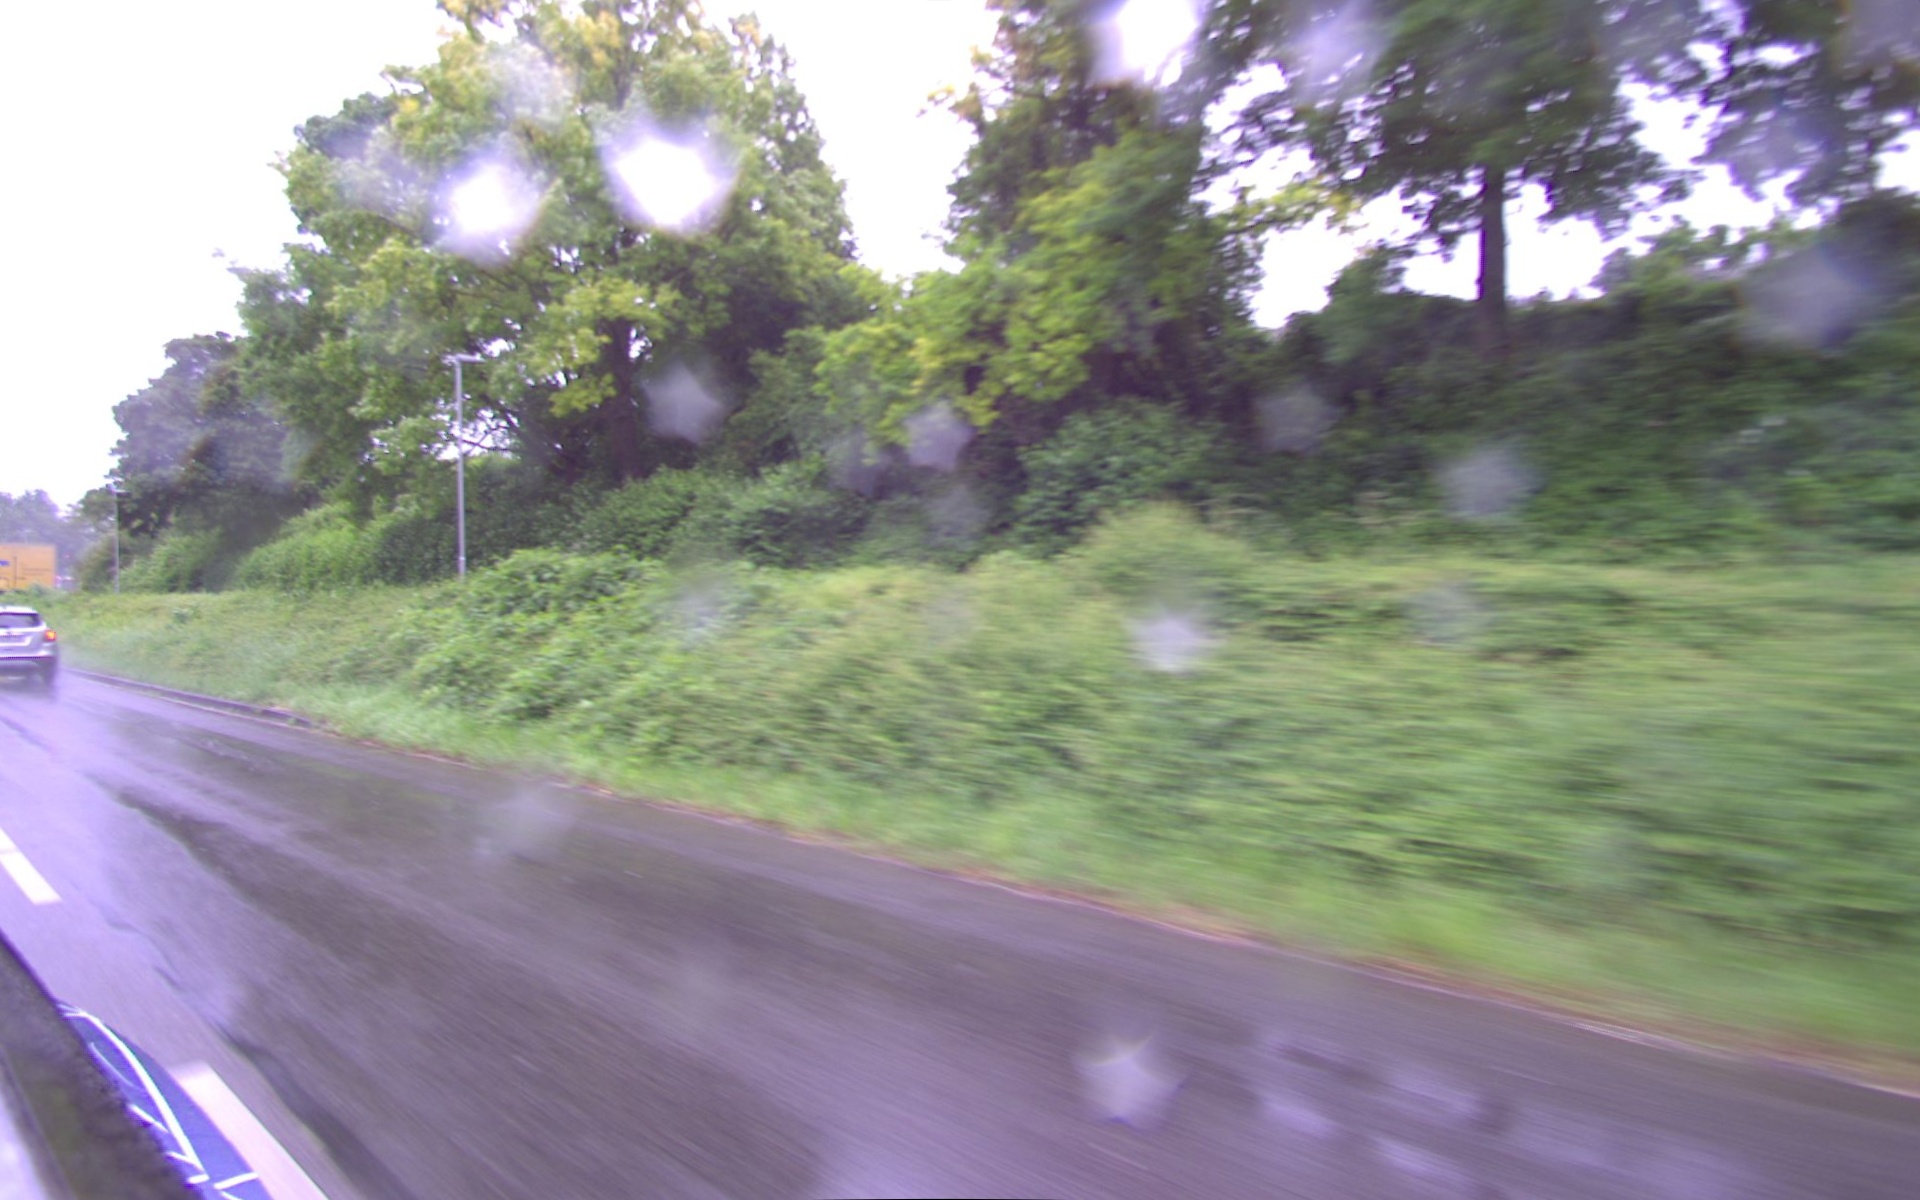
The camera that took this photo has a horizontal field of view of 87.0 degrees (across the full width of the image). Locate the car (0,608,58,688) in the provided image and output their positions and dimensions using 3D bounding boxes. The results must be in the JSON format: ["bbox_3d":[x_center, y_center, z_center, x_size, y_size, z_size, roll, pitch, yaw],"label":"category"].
[{"bbox_3d":[-20.928,1.005,21.794,3.788,1.633,1.742,-1,-2,40],"label":"car"}]
